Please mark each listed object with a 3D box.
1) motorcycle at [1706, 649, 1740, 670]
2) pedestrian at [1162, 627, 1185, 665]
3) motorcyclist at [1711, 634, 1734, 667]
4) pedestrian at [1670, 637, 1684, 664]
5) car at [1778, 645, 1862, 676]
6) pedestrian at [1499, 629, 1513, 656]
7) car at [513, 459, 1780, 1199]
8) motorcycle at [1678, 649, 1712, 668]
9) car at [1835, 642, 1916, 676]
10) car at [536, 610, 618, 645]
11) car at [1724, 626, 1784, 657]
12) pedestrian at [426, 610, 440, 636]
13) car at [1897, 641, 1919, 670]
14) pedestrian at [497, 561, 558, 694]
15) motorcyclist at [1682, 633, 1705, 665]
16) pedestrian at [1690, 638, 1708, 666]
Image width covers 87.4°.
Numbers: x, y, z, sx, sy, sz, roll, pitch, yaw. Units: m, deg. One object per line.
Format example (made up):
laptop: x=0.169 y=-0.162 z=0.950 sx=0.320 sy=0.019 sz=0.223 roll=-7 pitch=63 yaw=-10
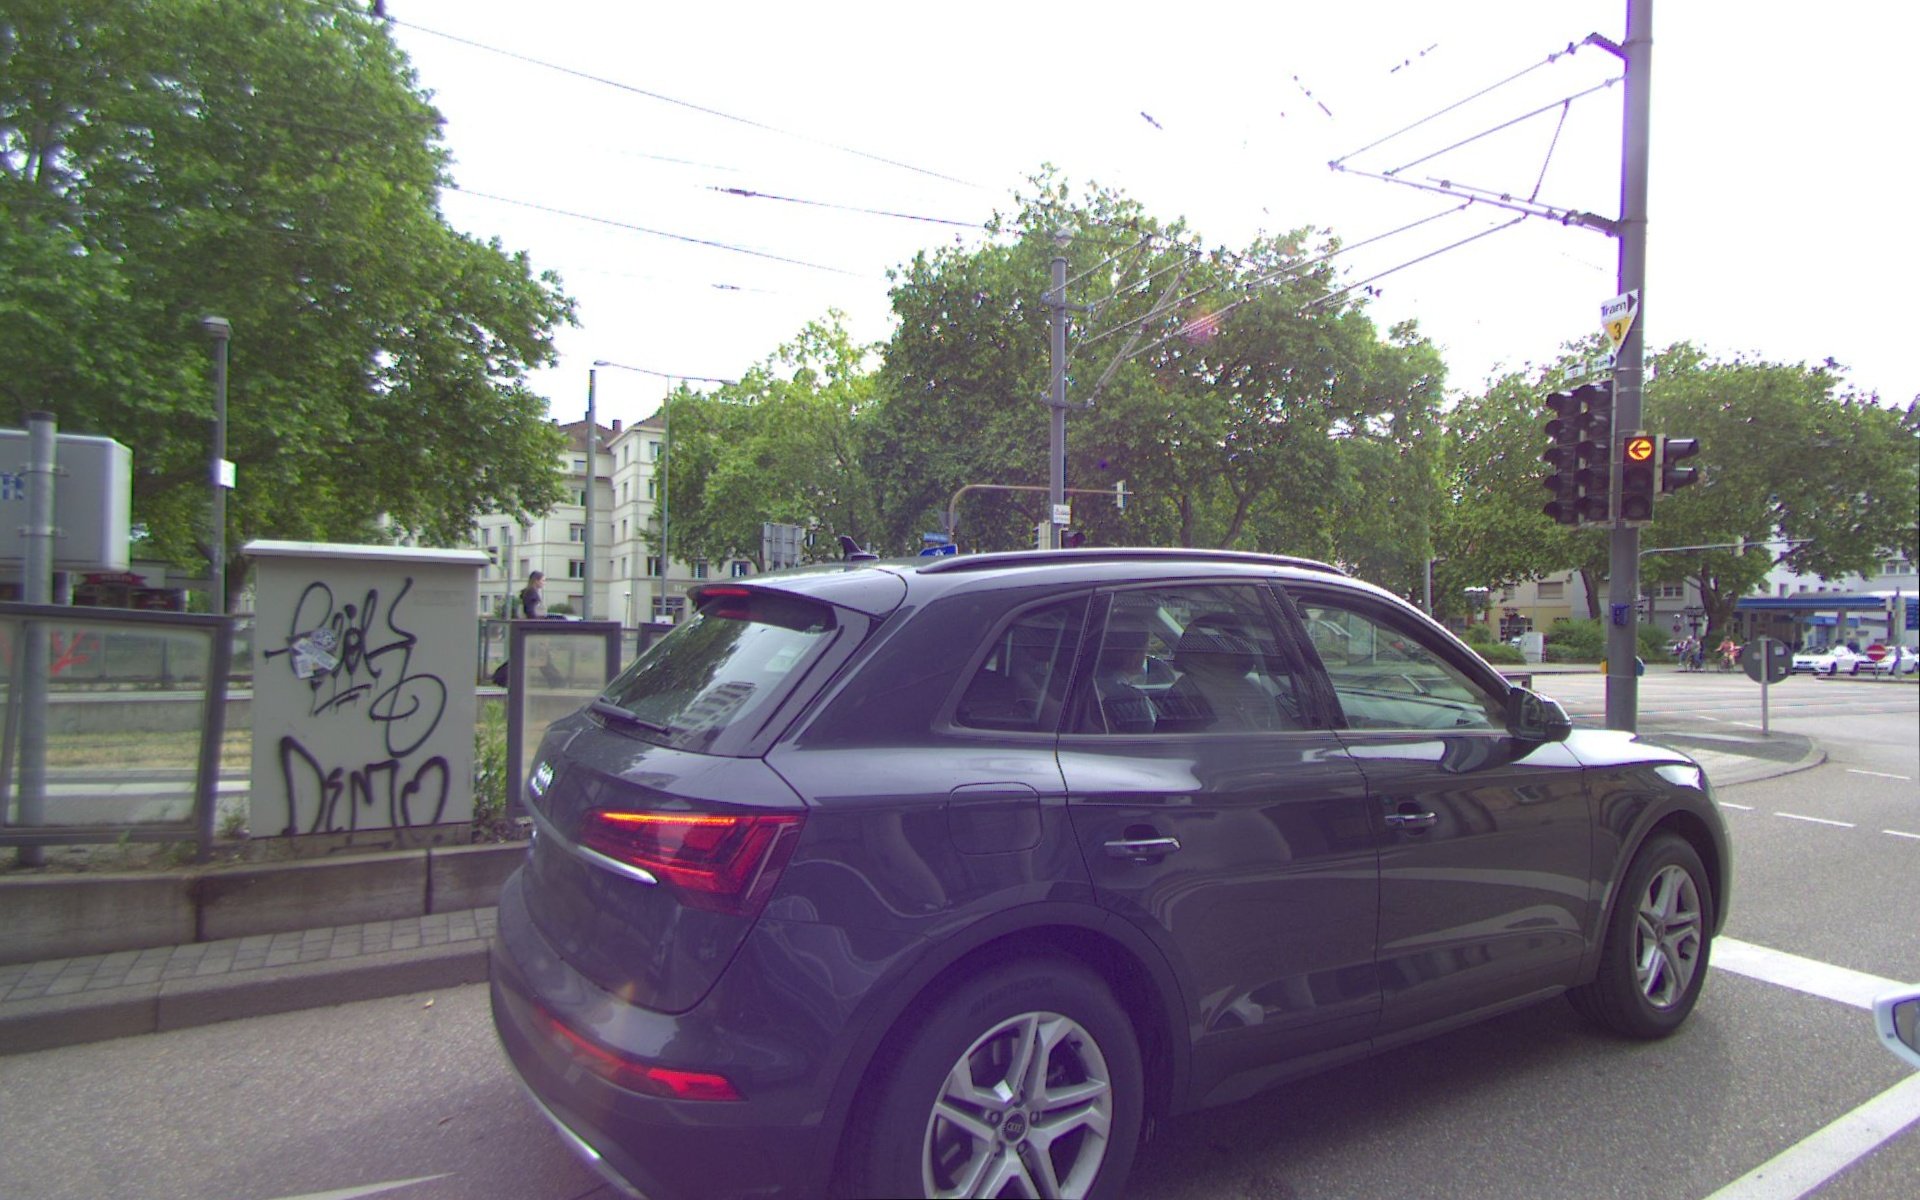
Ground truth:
motorcycle: x=36.738 y=2.864 z=48.356 sx=1.928 sy=0.941 sz=0.604 roll=2 pitch=-1 yaw=-30
pedestrian: x=8.650 y=1.857 z=40.712 sx=0.648 sy=1.530 sz=0.679 roll=0 pitch=-1 yaw=45
motorcyclist: x=36.725 y=2.442 z=48.375 sx=0.863 sy=1.540 sz=0.617 roll=2 pitch=-1 yaw=-30
pedestrian: x=39.729 y=2.822 z=55.658 sx=0.421 sy=1.479 sz=0.474 roll=2 pitch=-1 yaw=-30
car: x=41.411 y=2.903 z=48.356 sx=4.025 sy=1.338 sz=1.739 roll=2 pitch=0 yaw=-29
pedestrian: x=35.808 y=2.798 z=65.880 sx=0.599 sy=1.723 sz=0.604 roll=1 pitch=-1 yaw=-1
car: x=0.839 y=0.647 z=3.468 sx=4.177 sy=1.658 sz=1.725 roll=2 pitch=0 yaw=-30
motorcycle: x=35.878 y=2.852 z=49.046 sx=1.928 sy=0.941 sz=0.604 roll=2 pitch=-1 yaw=-30
car: x=46.990 y=3.015 z=51.531 sx=3.953 sy=1.615 sz=1.984 roll=2 pitch=0 yaw=-30
car: x=-20.232 y=1.440 z=53.060 sx=3.929 sy=1.706 sz=1.996 roll=0 pitch=-1 yaw=31
car: x=54.919 y=2.886 z=69.493 sx=3.953 sy=2.040 sz=1.984 roll=2 pitch=-1 yaw=-30
pedestrian: x=-41.729 y=1.822 z=79.566 sx=0.658 sy=2.040 sz=0.675 roll=2 pitch=0 yaw=25
car: x=52.794 y=3.027 z=54.613 sx=3.593 sy=1.497 sz=1.649 roll=2 pitch=0 yaw=-29
pedestrian: x=-5.991 y=0.374 z=13.893 sx=0.658 sy=1.773 sz=0.732 roll=2 pitch=0 yaw=-30
motorcyclist: x=35.733 y=2.403 z=48.940 sx=0.863 sy=1.540 sz=0.617 roll=2 pitch=-1 yaw=-30
pedestrian: x=40.395 y=2.844 z=54.918 sx=0.550 sy=1.499 sz=0.644 roll=2 pitch=-1 yaw=-30
